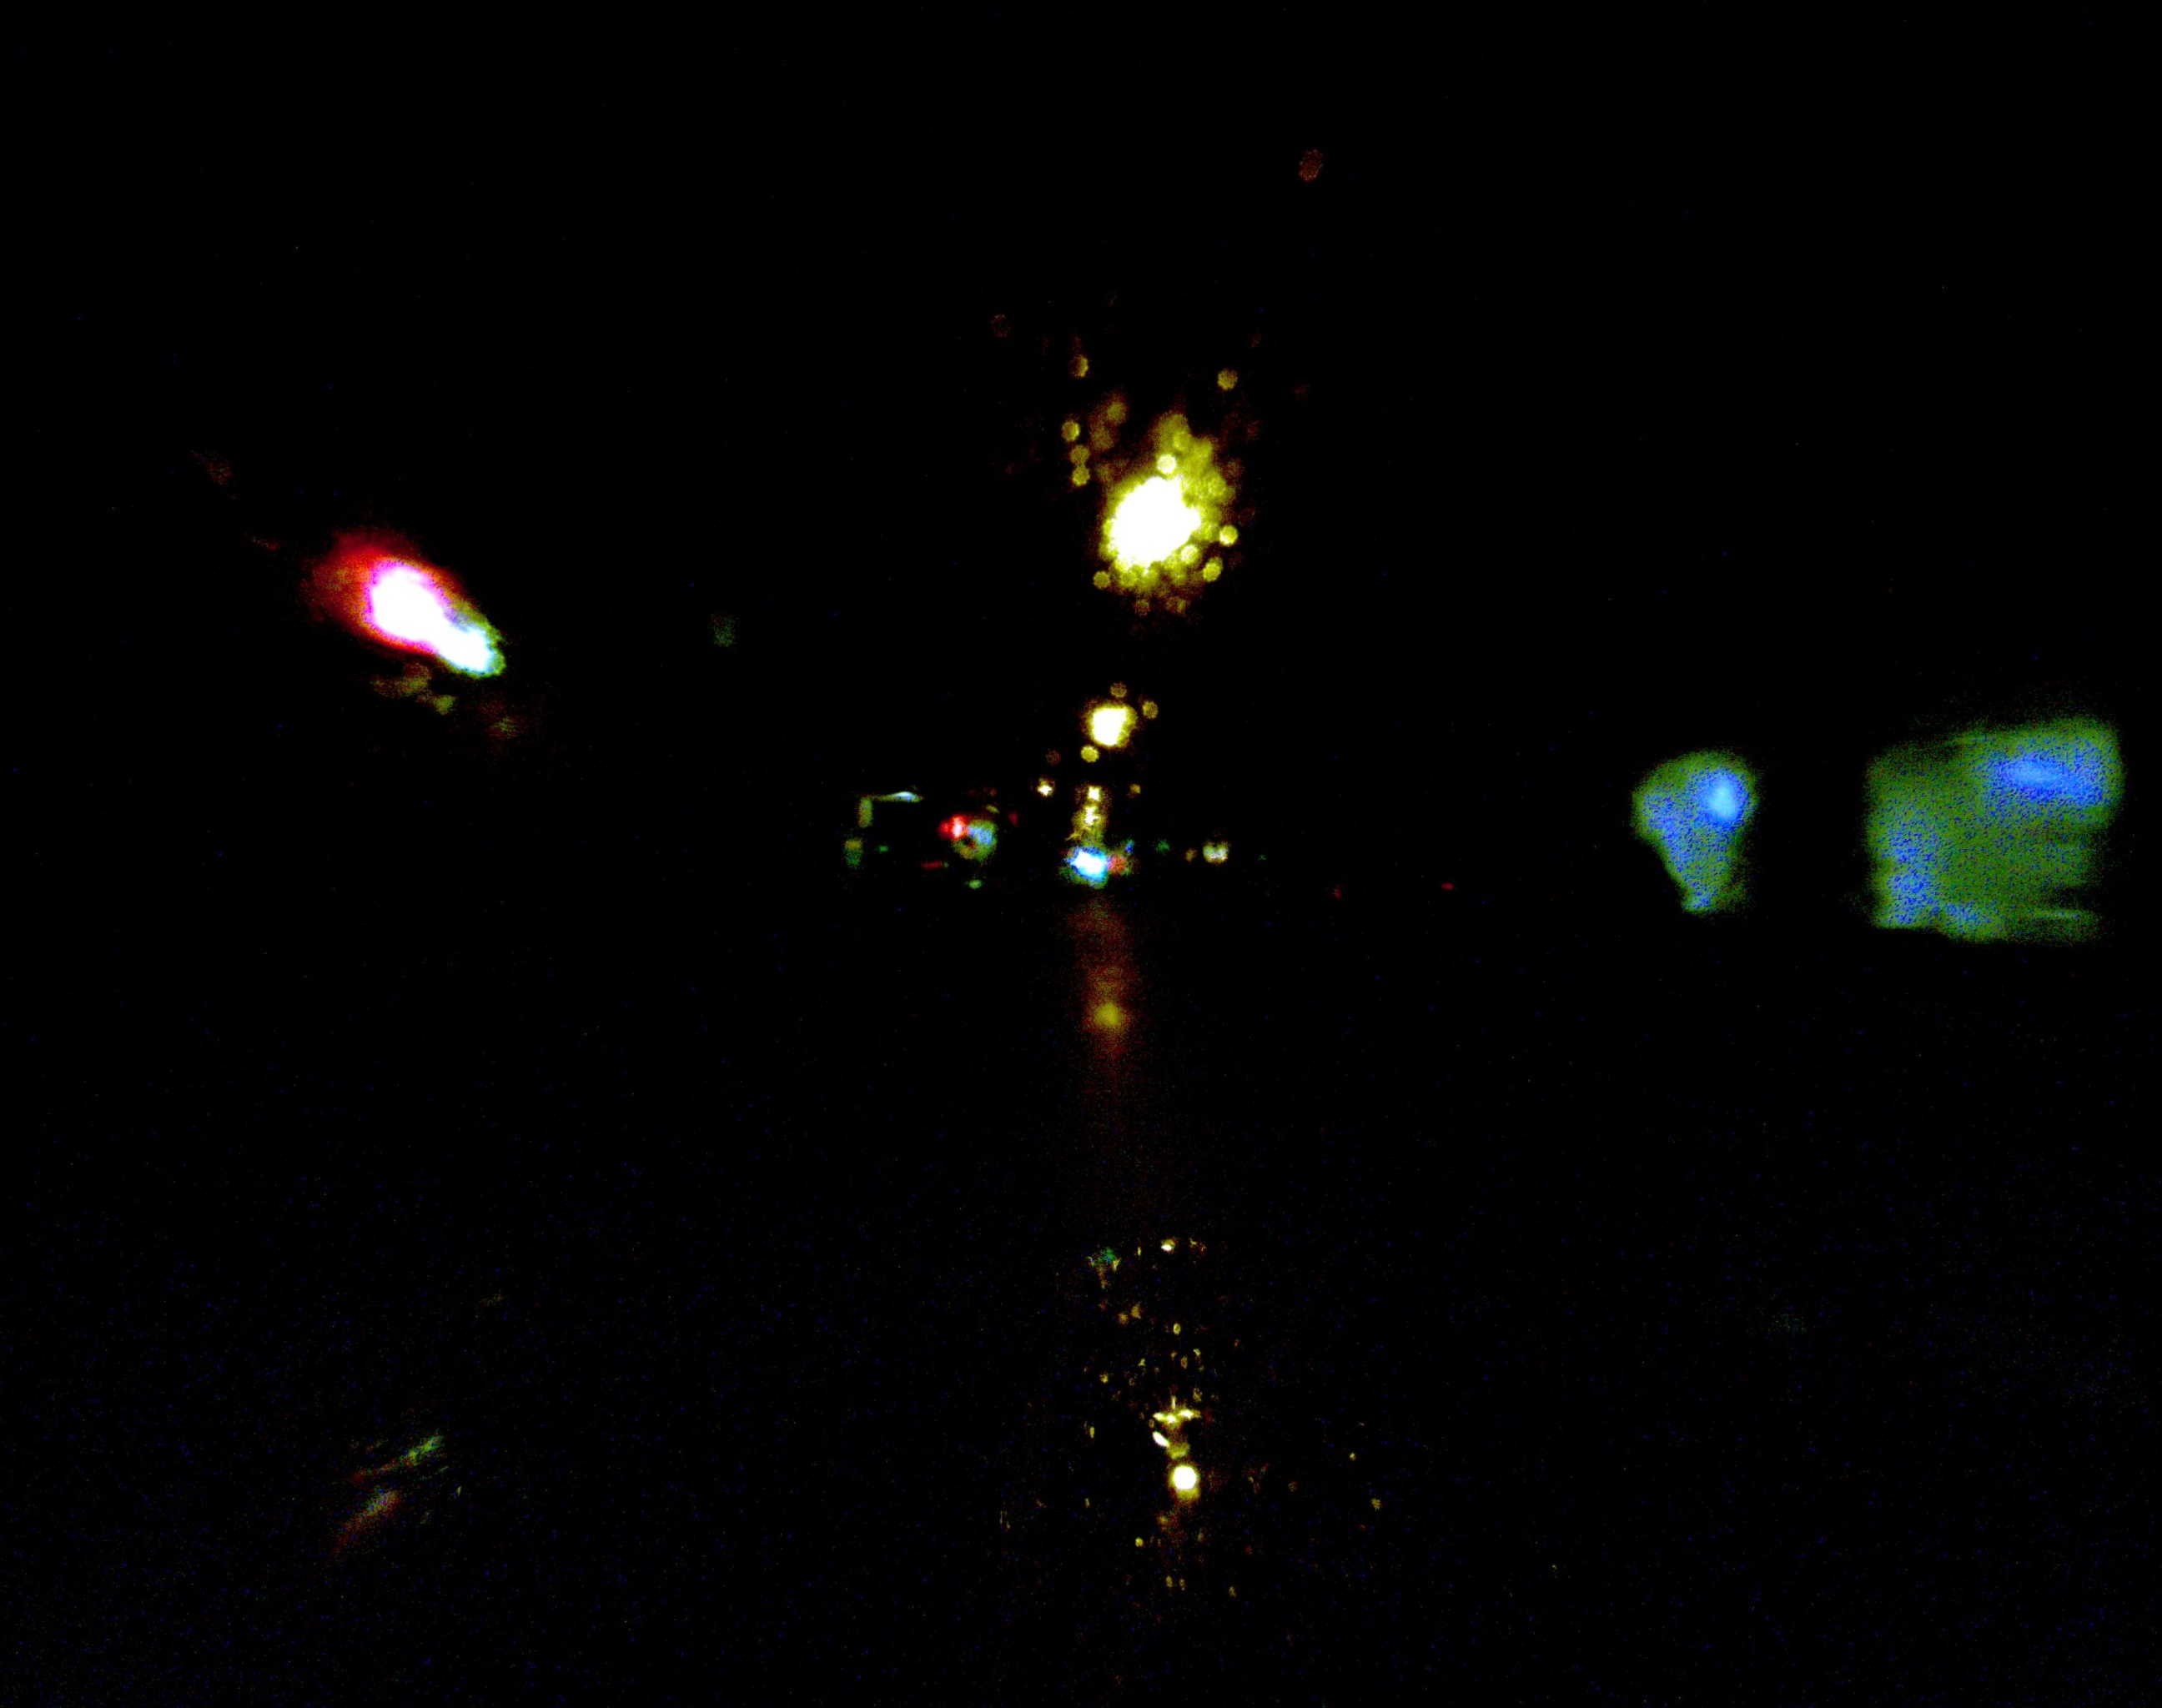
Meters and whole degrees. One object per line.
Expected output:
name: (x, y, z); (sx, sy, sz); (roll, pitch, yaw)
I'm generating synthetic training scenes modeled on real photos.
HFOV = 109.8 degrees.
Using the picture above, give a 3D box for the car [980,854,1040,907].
car: (-2.410, 0.862, 26.659); (1.676, 1.712, 3.856); (1, 0, 1)

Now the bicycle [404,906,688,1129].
bicycle: (-3.434, 1.027, 4.910); (1.532, 1.195, 0.366); (6, 2, 3)

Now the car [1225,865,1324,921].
car: (5.379, 1.032, 21.681); (1.731, 1.384, 4.555); (0, 0, 1)

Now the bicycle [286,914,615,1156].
bicycle: (-3.663, 1.040, 4.461); (1.532, 1.195, 0.366); (6, 2, -1)

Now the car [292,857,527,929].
car: (-16.499, 0.925, 18.834); (3.996, 1.499, 2.000); (-2, 1, 2)

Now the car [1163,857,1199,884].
car: (5.679, 0.928, 43.521); (1.697, 1.470, 3.964); (0, -1, 2)

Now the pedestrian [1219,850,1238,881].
pedestrian: (8.631, 0.650, 44.472); (0.912, 1.778, 0.629); (-2, 1, 1)

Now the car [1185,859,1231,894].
car: (5.525, 0.935, 33.309); (1.531, 1.445, 3.384); (0, 0, 1)

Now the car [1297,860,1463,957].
car: (5.427, 0.912, 14.320); (1.731, 1.565, 3.720); (0, 0, 1)

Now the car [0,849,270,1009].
car: (-13.144, 0.877, 9.447); (4.155, 1.760, 1.843); (-1, 0, 1)

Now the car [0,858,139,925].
car: (-27.324, 0.964, 19.440); (4.155, 1.593, 1.843); (-1, 0, 1)

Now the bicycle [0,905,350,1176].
bicycle: (-4.828, 0.952, 3.989); (1.532, 1.195, 0.366); (6, 2, -1)

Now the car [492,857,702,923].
car: (-11.951, 0.861, 18.936); (3.996, 1.476, 1.895); (-1, 0, 2)

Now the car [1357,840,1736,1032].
car: (5.294, 0.786, 9.631); (1.907, 1.818, 4.829); (0, 0, 1)

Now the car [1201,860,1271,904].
car: (5.546, 0.959, 27.664); (1.731, 1.445, 4.273); (0, 0, 1)

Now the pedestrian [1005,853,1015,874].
pedestrian: (-6.815, 0.908, 73.038); (0.776, 1.890, 0.777); (-2, 1, 1)

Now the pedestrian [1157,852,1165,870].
pedestrian: (8.956, 0.792, 85.083); (0.776, 2.002, 0.587); (-2, 1, 1)

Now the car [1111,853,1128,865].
car: (4.525, 0.603, 88.179); (1.877, 1.386, 4.075); (0, -1, 4)

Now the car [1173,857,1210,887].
car: (5.715, 0.930, 39.490); (1.696, 1.470, 3.385); (0, -1, 4)

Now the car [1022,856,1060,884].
car: (-2.250, 0.890, 43.797); (1.846, 1.498, 4.162); (1, 0, 1)

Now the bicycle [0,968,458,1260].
bicycle: (-3.693, 1.110, 3.331); (1.532, 1.018, 0.366); (6, 1, -1)

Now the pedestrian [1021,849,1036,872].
pedestrian: (-3.928, 0.514, 56.708); (1.007, 1.698, 0.614); (1, 1, 1)

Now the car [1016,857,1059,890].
car: (-2.115, 0.931, 38.086); (1.846, 1.498, 4.162); (1, 0, 1)

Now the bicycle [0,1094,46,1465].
bicycle: (-3.736, 1.123, 2.025); (1.532, 1.018, 0.366); (6, 1, 4)

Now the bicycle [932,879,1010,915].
bicycle: (-3.118, 1.199, 21.452); (2.267, 0.889, 0.619); (1, 1, 30)

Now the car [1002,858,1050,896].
car: (-2.305, 0.942, 32.729); (1.689, 1.498, 4.162); (1, 0, 1)
